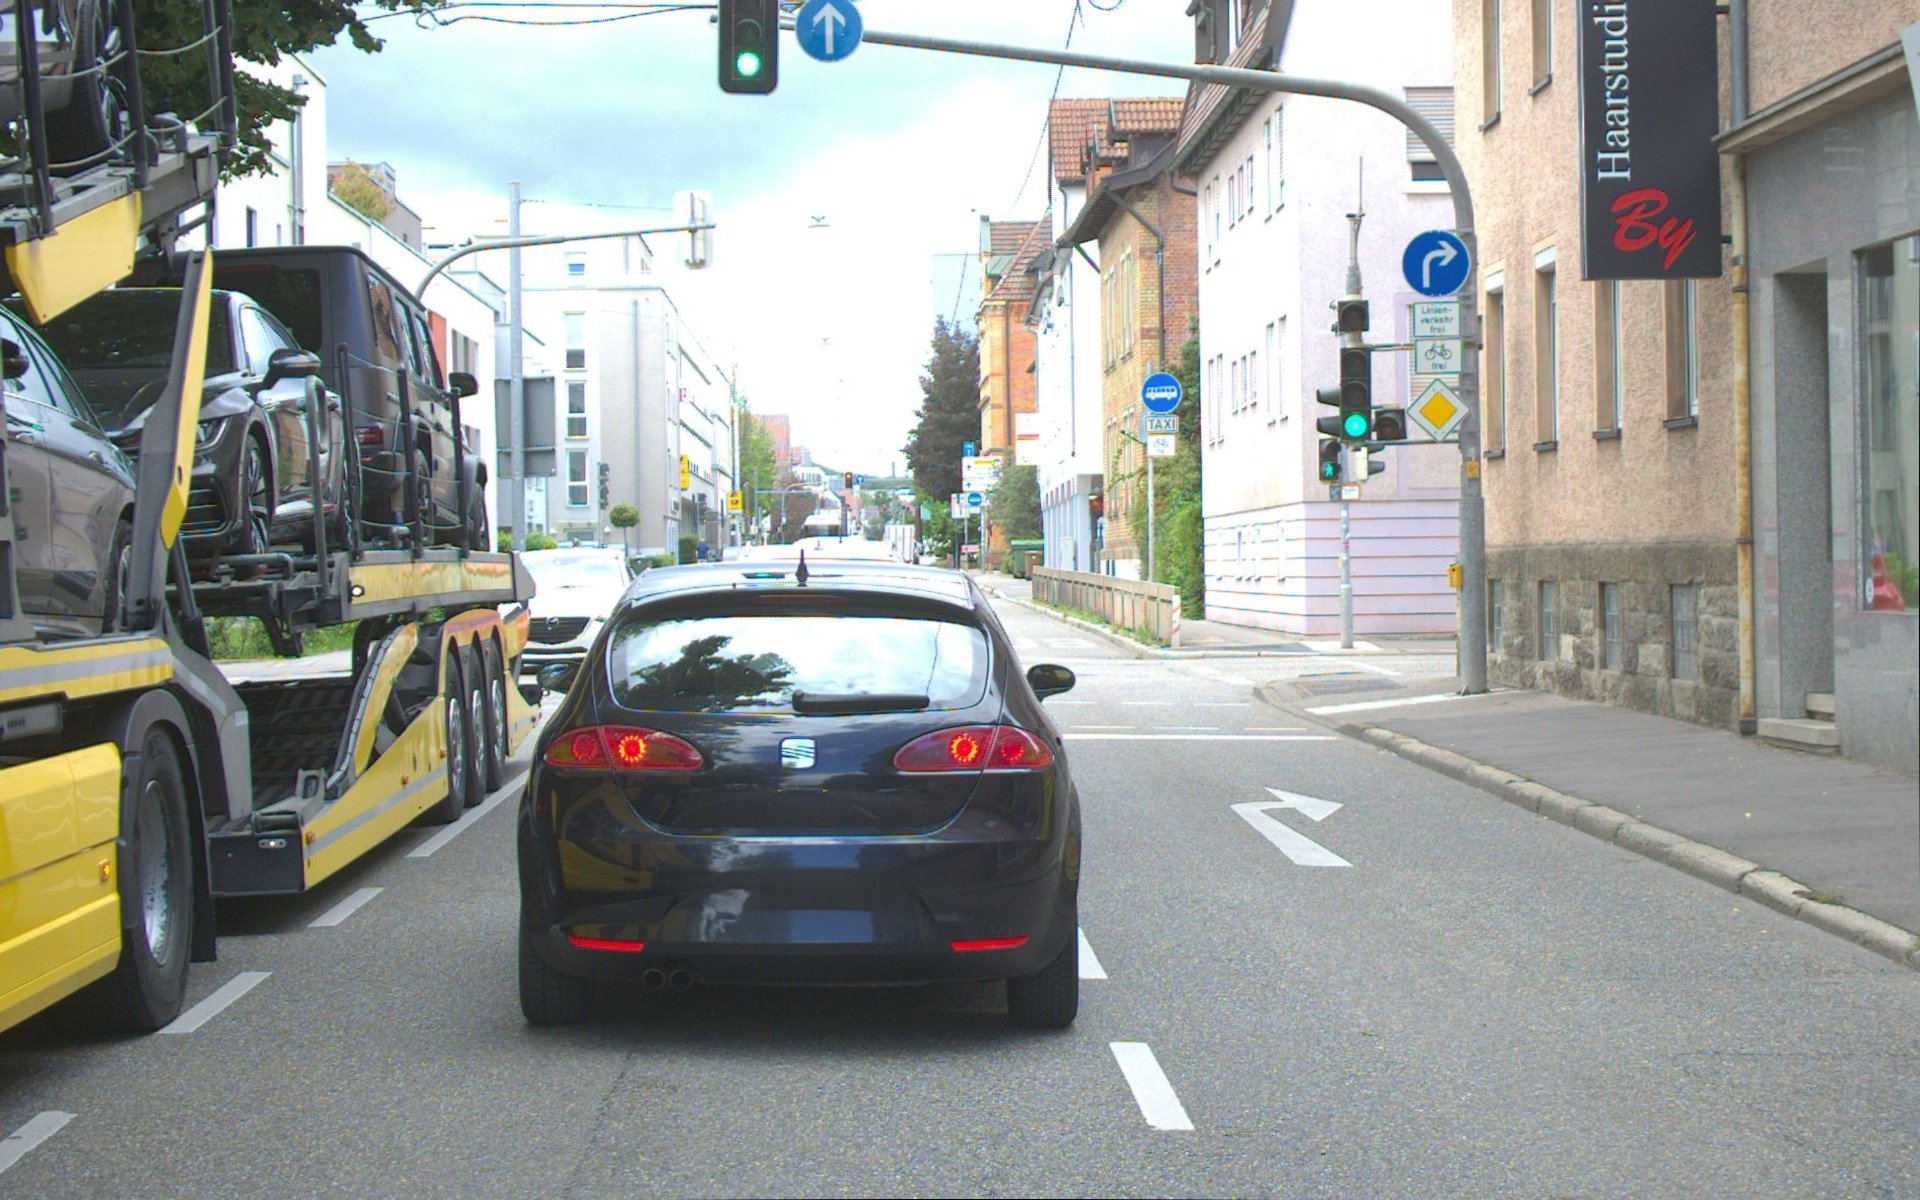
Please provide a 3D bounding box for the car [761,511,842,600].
[{"bbox_3d":[-3.073,-0.872,67.219,1.531,1.687,3.693,0,1,-2],"label":"car"}]

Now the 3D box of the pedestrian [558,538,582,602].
[{"bbox_3d":[-9.486,-0.724,83.549,0.526,1.542,0.541,0,0,-2],"label":"pedestrian"}]

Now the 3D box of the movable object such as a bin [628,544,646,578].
[{"bbox_3d":[-10.410,-1.257,110.835,0.549,1.075,0.612,0,0,-1],"label":"movable object such as a bin"}]

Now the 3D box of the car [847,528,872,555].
[{"bbox_3d":[-6.376,-3.686,217.114,1.531,1.687,3.693,-1,1,-2],"label":"car"}]

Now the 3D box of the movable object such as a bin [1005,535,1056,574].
[{"bbox_3d":[2.635,-1.683,128.475,1.818,1.432,1.993,0,0,-1],"label":"movable object such as a bin"}]

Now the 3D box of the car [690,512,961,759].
[{"bbox_3d":[-0.990,0.225,25.565,1.842,1.687,4.000,0,1,-2],"label":"car"}]

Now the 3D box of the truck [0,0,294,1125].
[{"bbox_3d":[-3.895,-0.542,9.258,2.843,3.769,7.670,0,1,-1],"label":"truck"}]

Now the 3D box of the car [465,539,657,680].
[{"bbox_3d":[-4.630,0.085,40.409,1.767,1.465,4.227,-4,1,-1],"label":"car"}]

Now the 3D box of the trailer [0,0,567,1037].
[{"bbox_3d":[-4.100,-0.640,17.668,2.858,3.795,14.392,0,1,-1],"label":"trailer"}]

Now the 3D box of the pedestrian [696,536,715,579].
[{"bbox_3d":[-10.258,-1.707,138.440,0.730,1.723,0.859,0,0,-2],"label":"pedestrian"}]

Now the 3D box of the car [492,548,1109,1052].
[{"bbox_3d":[-0.514,0.555,11.854,1.759,1.437,4.000,0,1,-2],"label":"car"}]

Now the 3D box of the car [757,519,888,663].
[{"bbox_3d":[-1.679,-0.122,42.290,1.531,1.687,3.693,0,1,-2],"label":"car"}]
